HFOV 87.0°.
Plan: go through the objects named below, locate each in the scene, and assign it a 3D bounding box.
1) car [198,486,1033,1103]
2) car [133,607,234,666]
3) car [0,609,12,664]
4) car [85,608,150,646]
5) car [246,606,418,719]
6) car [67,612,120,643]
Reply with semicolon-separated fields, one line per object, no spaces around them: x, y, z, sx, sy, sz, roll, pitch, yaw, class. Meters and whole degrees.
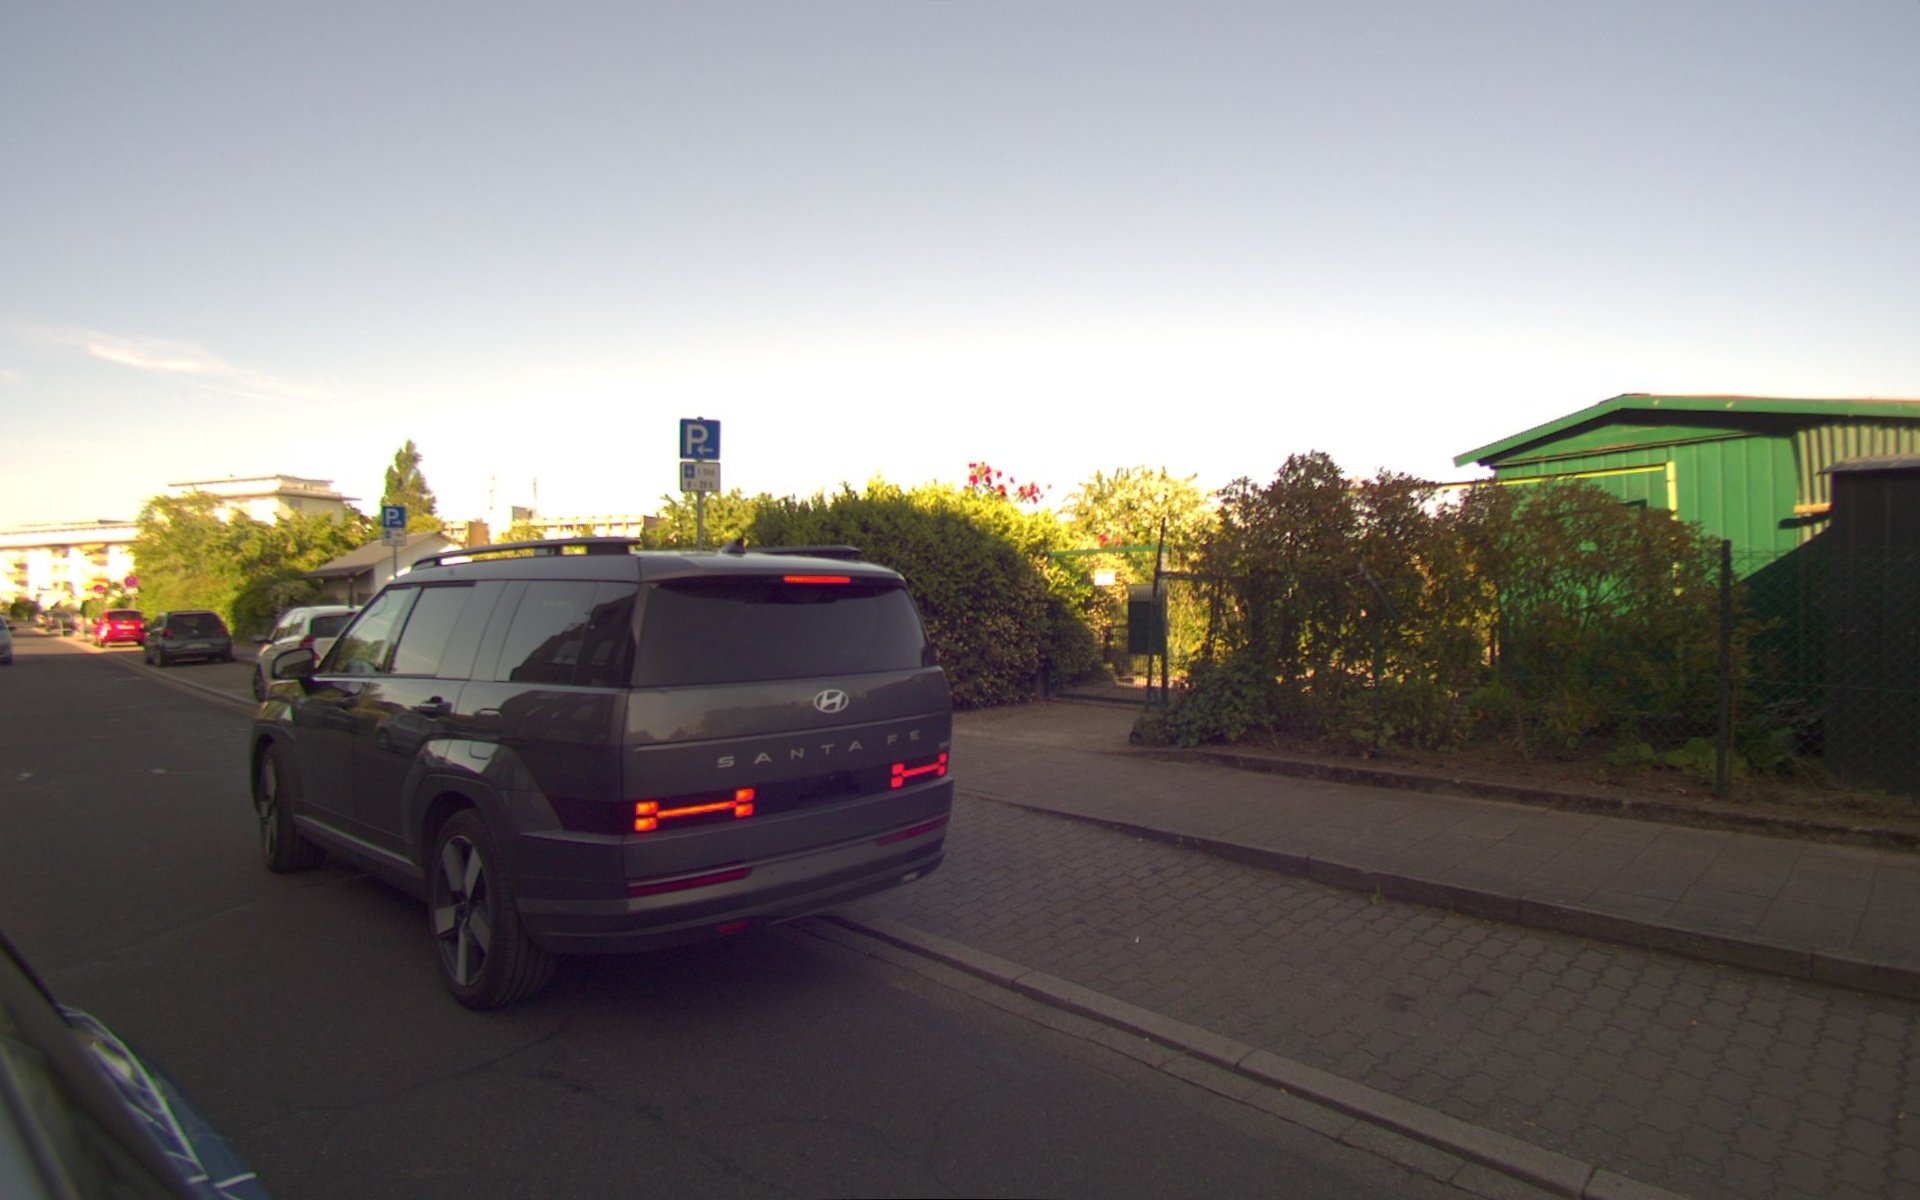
-2.126;0.600;5.208;4.837;1.740;1.922;-1;-2;42;car
-21.743;0.966;28.261;1.676;1.434;4.520;-3;2;-44;car
-27.275;0.988;27.621;3.998;1.459;1.657;-1;-1;41;car
-34.360;1.065;41.234;1.676;1.440;4.389;0;-1;-44;car
-9.596;0.859;15.362;1.510;1.499;3.404;-1;0;-44;car
-41.336;1.286;48.271;1.676;1.380;3.913;0;-1;-44;car
